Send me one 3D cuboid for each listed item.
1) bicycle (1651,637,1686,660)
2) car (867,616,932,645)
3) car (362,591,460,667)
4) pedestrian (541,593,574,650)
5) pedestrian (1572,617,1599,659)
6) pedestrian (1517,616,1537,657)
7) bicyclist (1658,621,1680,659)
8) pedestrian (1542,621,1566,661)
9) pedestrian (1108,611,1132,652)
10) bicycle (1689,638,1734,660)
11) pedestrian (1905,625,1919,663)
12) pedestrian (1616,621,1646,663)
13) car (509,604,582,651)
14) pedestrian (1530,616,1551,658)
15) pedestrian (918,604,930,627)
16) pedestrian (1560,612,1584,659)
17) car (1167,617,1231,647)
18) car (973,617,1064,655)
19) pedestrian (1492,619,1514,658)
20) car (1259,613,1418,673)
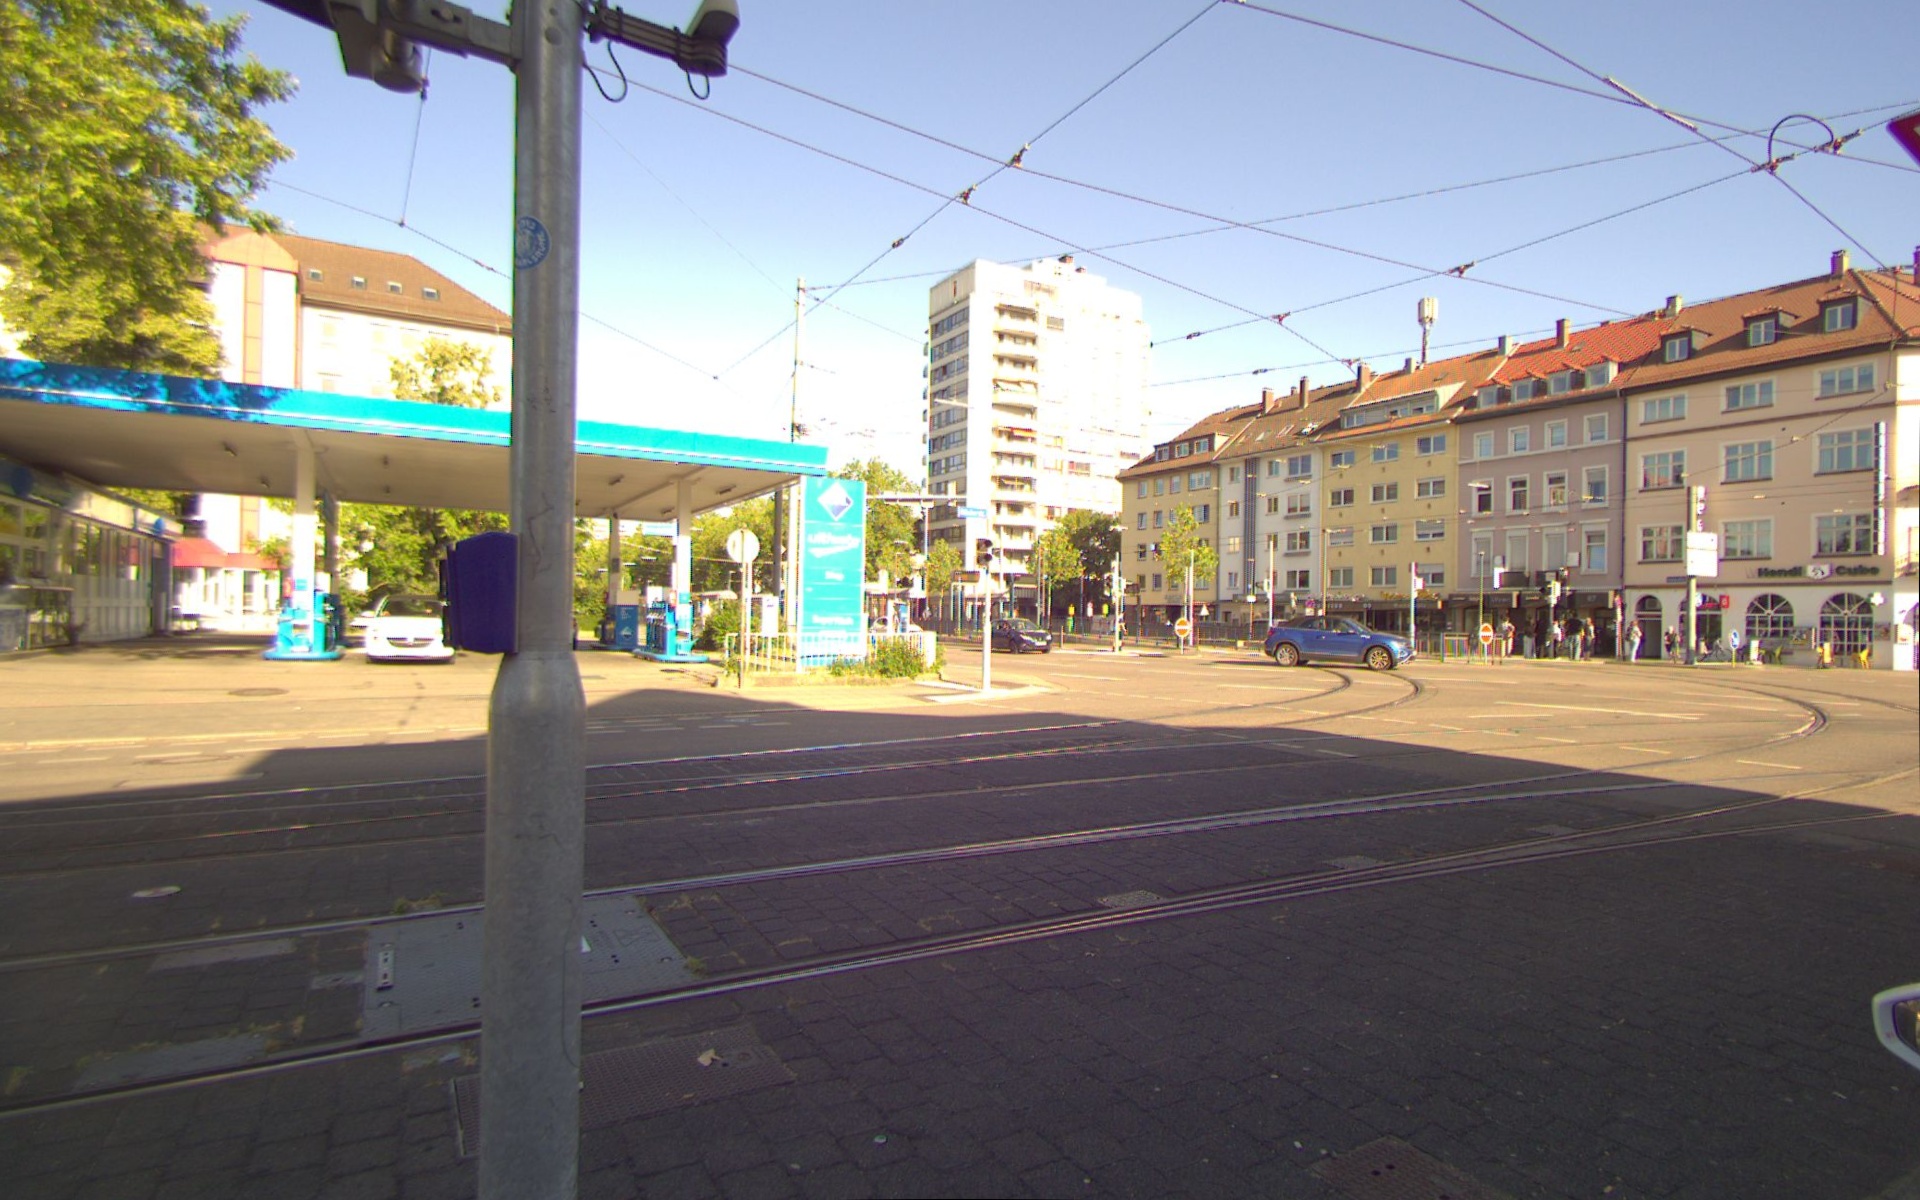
[{"bbox_3d":[33.958,2.322,48.135,1.731,1.044,0.619,2,0,-25],"label":"bicycle"},{"bbox_3d":[-3.200,1.580,52.383,1.875,1.473,3.978,1,-1,-29],"label":"car"},{"bbox_3d":[-12.210,0.592,22.360,1.723,1.455,3.905,2,1,-29],"label":"car"},{"bbox_3d":[-12.323,0.679,30.750,0.838,1.724,0.644,2,-3,-31],"label":"pedestrian"},{"bbox_3d":[25.601,1.541,41.089,0.831,1.670,0.579,2,0,-30],"label":"pedestrian"},{"bbox_3d":[23.571,1.513,41.734,0.492,1.670,0.520,2,0,-30],"label":"pedestrian"},{"bbox_3d":[34.000,1.923,48.150,0.606,1.814,0.619,2,0,-25],"label":"bicyclist"},{"bbox_3d":[25.066,1.723,42.393,0.719,1.670,0.570,2,0,-30],"label":"pedestrian"},{"bbox_3d":[6.530,1.282,40.944,0.752,1.631,0.611,2,0,-13],"label":"pedestrian"},{"bbox_3d":[37.840,2.470,50.601,0.603,0.996,1.693,2,0,-29],"label":"bicycle"},{"bbox_3d":[42.949,1.980,45.067,0.577,1.698,0.498,2,0,13],"label":"pedestrian"},{"bbox_3d":[26.442,1.663,39.570,0.805,1.615,0.665,2,0,-30],"label":"pedestrian"},{"bbox_3d":[-13.513,0.860,32.651,1.659,1.372,3.559,2,0,-31],"label":"car"},{"bbox_3d":[23.783,1.517,41.143,0.492,1.670,0.520,2,0,-30],"label":"pedestrian"},{"bbox_3d":[-3.251,1.398,90.743,0.729,2.127,0.880,2,0,-21],"label":"pedestrian"},{"bbox_3d":[24.727,1.439,40.582,0.669,1.847,0.524,2,0,-30],"label":"pedestrian"},{"bbox_3d":[16.076,2.149,67.808,1.797,1.797,4.208,2,0,-30],"label":"car"},{"bbox_3d":[2.351,1.466,41.475,1.811,1.422,3.965,1,-1,-32],"label":"car"},{"bbox_3d":[23.886,1.687,44.165,0.609,1.670,0.581,2,0,-30],"label":"pedestrian"},{"bbox_3d":[11.238,1.225,29.888,4.128,1.596,1.826,1,0,34],"label":"car"}]
